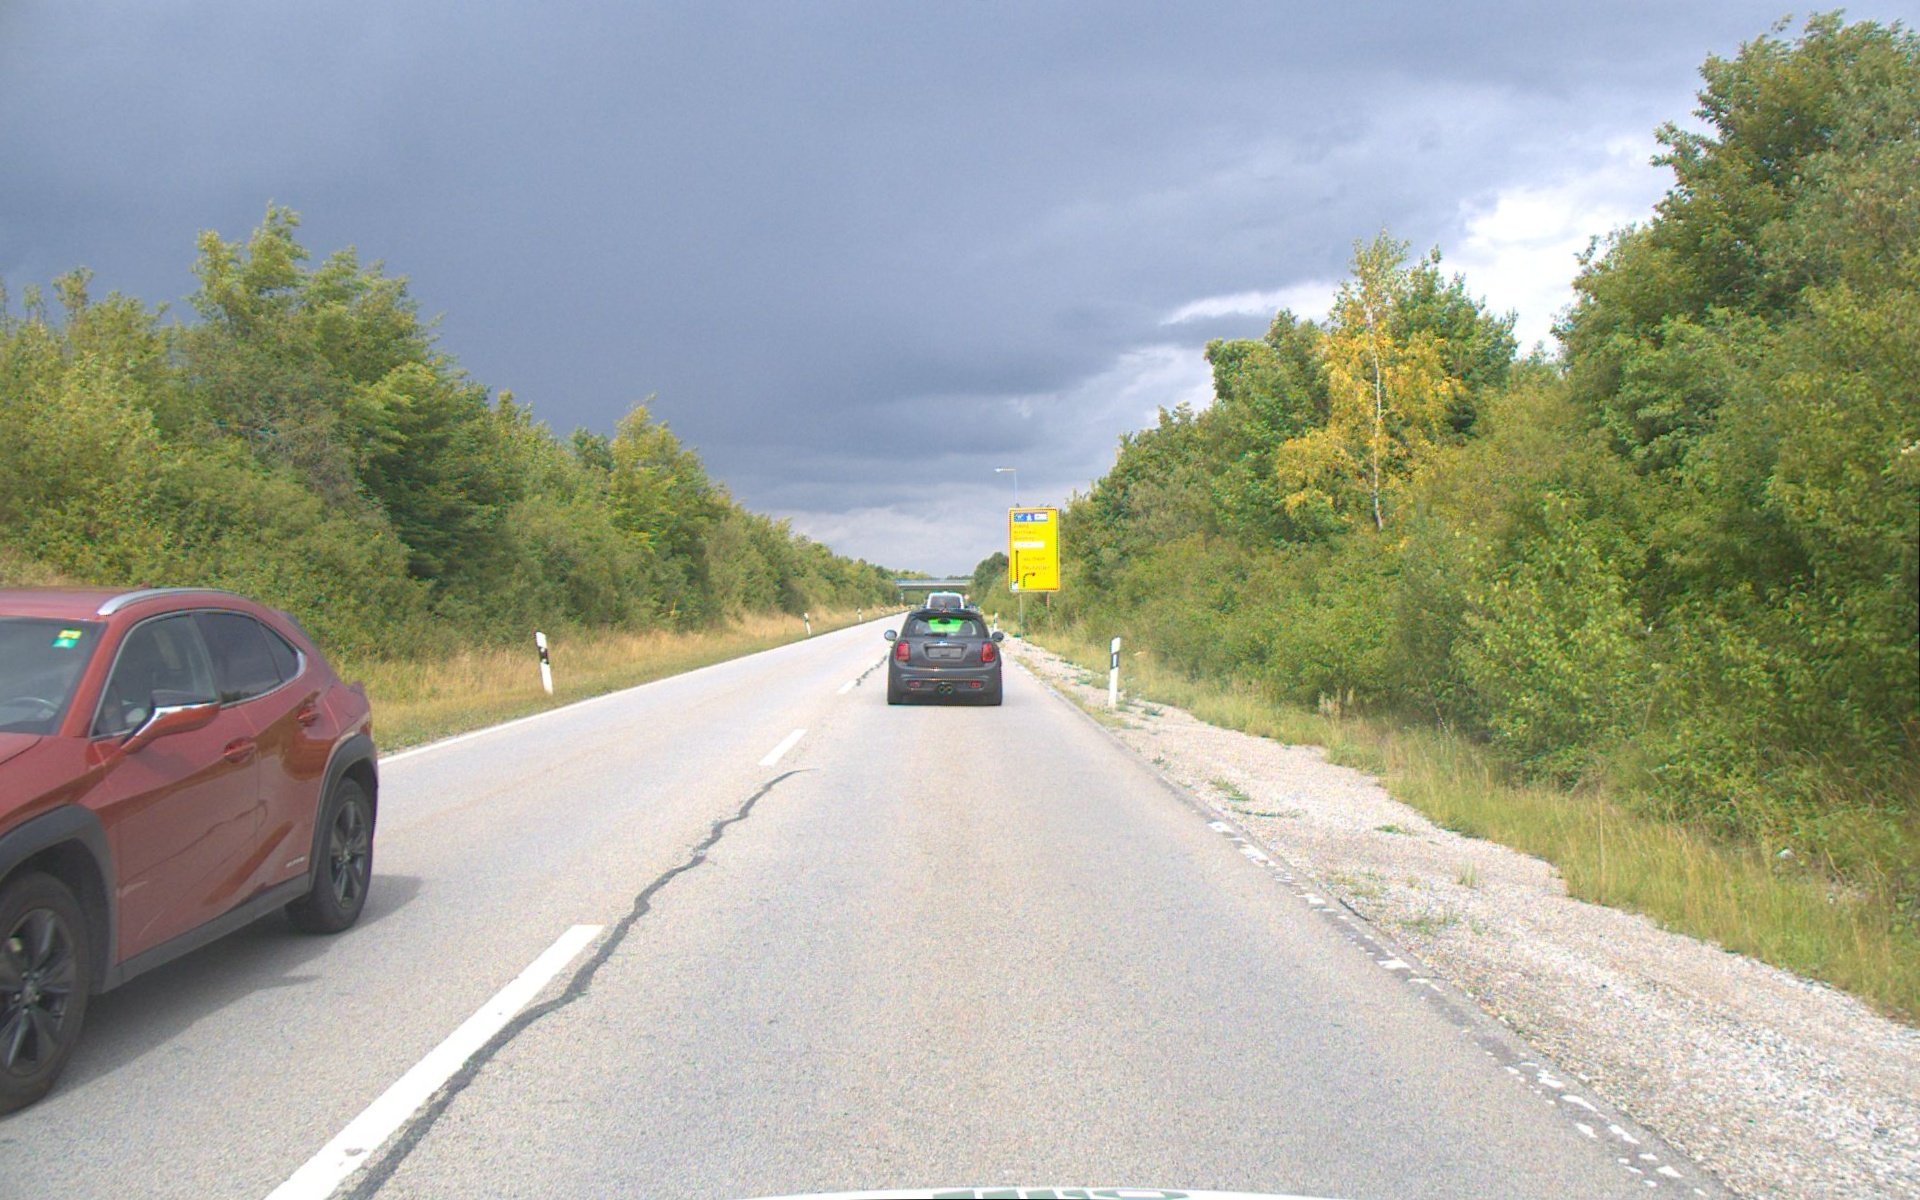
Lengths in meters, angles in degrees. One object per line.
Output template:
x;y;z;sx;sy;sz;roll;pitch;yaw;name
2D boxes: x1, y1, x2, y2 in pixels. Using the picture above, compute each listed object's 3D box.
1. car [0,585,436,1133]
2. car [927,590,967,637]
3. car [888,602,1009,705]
-3.530;0.699;6.165;1.791;1.490;4.410;0;0;-1;car
-0.612;0.605;75.659;1.782;2.090;3.999;1;0;-1;car
-0.199;0.784;25.807;1.721;1.452;3.999;1;0;-1;car
